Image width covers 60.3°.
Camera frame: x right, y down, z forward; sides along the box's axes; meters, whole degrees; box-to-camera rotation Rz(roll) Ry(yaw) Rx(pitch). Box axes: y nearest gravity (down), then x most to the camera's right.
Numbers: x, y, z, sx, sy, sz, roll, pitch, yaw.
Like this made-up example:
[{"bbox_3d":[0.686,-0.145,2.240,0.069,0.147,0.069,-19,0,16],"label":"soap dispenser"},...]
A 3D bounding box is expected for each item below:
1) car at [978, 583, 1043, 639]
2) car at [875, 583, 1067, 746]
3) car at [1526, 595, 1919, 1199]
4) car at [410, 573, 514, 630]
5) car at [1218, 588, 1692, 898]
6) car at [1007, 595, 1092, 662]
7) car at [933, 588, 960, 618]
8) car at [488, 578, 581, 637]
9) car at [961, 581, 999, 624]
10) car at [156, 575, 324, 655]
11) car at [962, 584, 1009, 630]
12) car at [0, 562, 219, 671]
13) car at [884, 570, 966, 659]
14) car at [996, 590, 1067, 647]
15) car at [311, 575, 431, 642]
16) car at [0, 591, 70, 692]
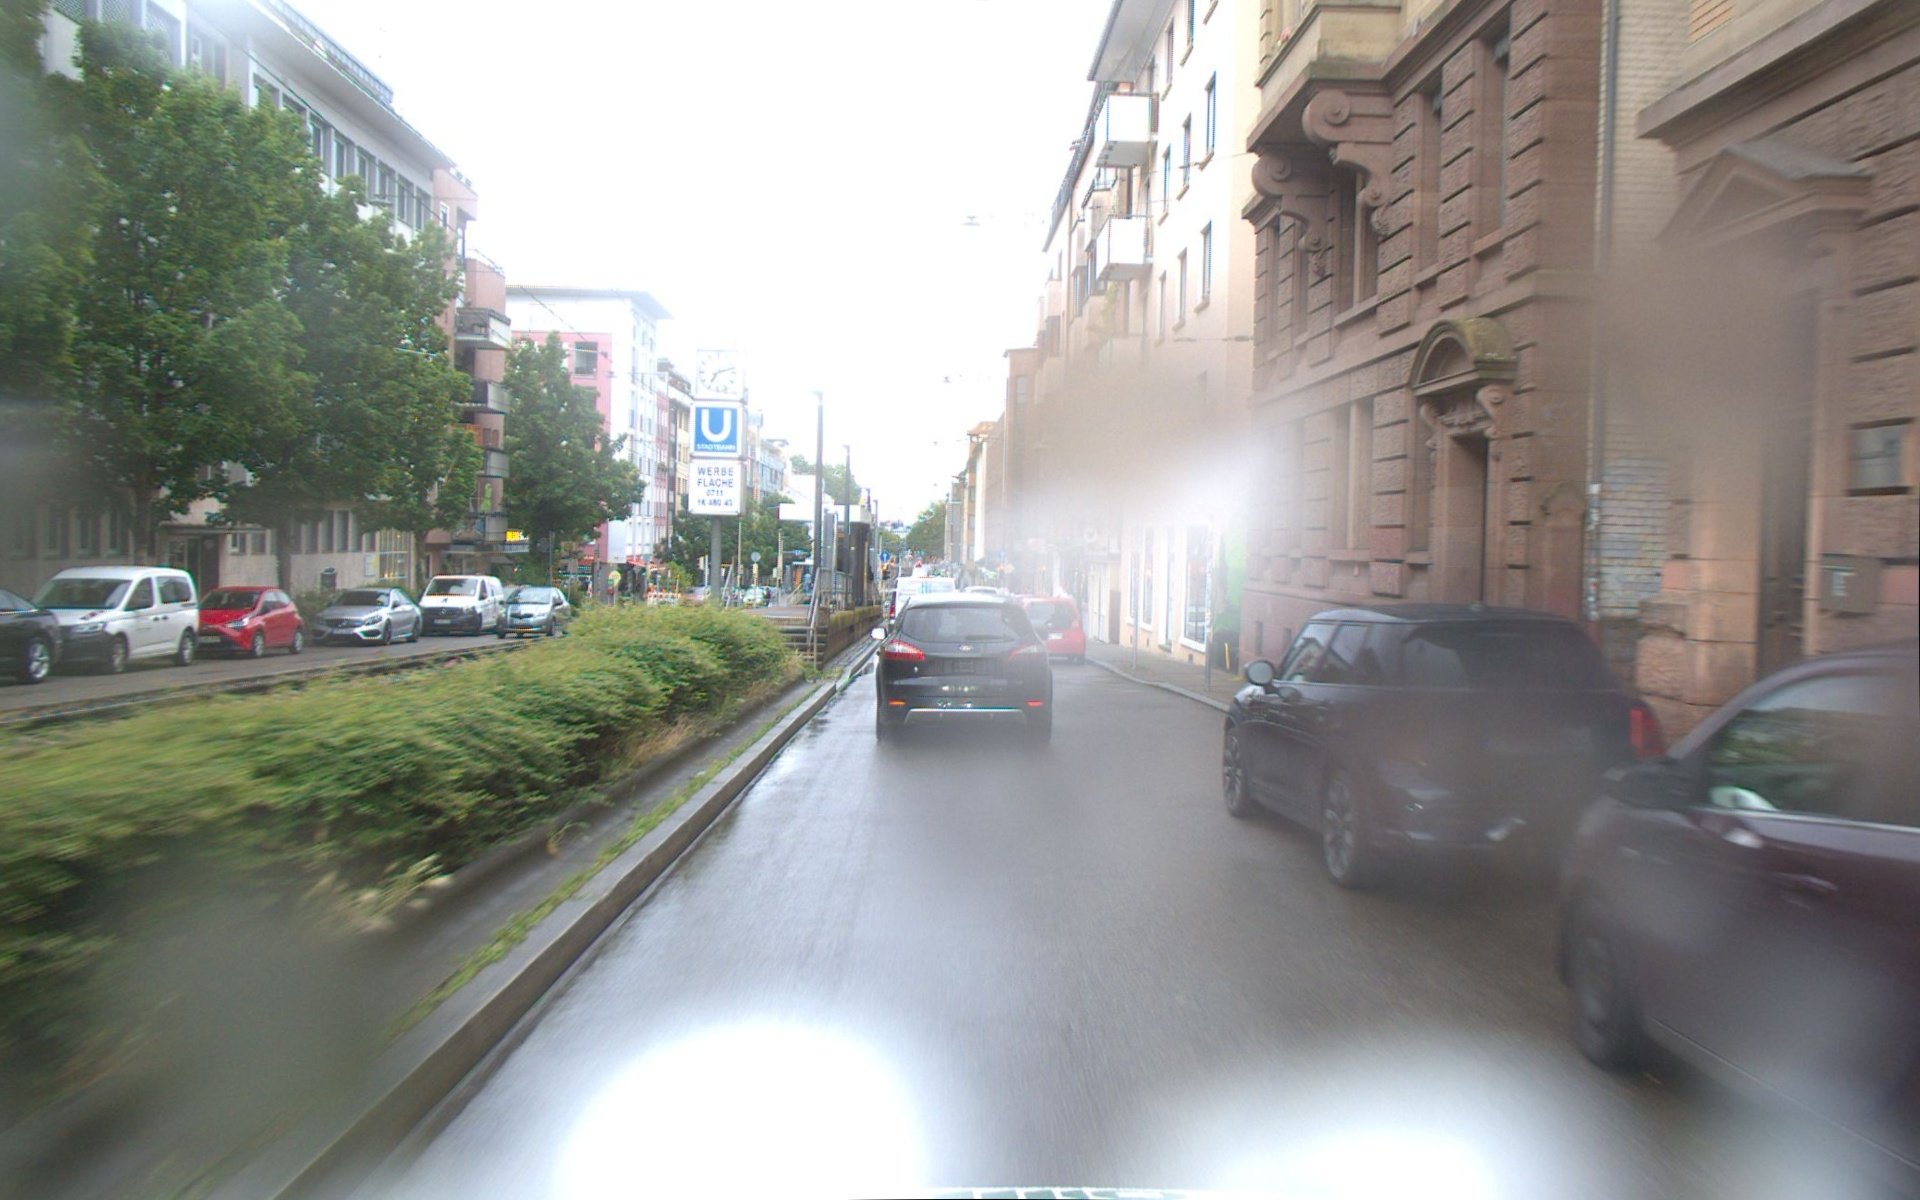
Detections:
[{"bbox_3d":[1.579,0.381,52.548,1.820,1.613,3.778,3,-1,-1],"label":"car"},{"bbox_3d":[0.003,0.612,17.686,1.806,1.533,3.997,0,0,-3],"label":"car"},{"bbox_3d":[2.924,0.735,4.371,1.616,1.485,3.475,0,0,-1],"label":"car"},{"bbox_3d":[-15.540,0.085,51.857,1.818,1.665,4.934,2,-1,-1],"label":"car"},{"bbox_3d":[2.684,0.687,9.867,1.545,1.485,3.819,0,0,-3],"label":"car"},{"bbox_3d":[1.997,0.612,37.614,1.637,1.446,3.475,0,0,-2],"label":"car"},{"bbox_3d":[-1.045,0.256,125.689,1.953,2.049,3.999,3,-1,-1],"label":"car"},{"bbox_3d":[-12.892,0.246,50.344,1.818,1.665,4.045,2,-1,-1],"label":"car"},{"bbox_3d":[0.914,0.152,76.045,1.559,1.812,3.778,3,-1,-1],"label":"car"},{"bbox_3d":[-15.173,0.337,35.090,1.818,1.553,4.045,2,-1,-1],"label":"car"},{"bbox_3d":[1.042,0.317,70.246,1.802,1.812,3.778,3,-1,-1],"label":"car"},{"bbox_3d":[-14.914,0.303,29.031,1.818,1.731,4.430,2,-1,-1],"label":"car"},{"bbox_3d":[-0.892,0.317,42.016,1.948,2.096,4.644,1,1,-1],"label":"car"},{"bbox_3d":[1.867,0.466,44.152,1.637,1.446,3.475,0,0,-2],"label":"car"},{"bbox_3d":[-15.024,0.247,42.411,1.634,1.585,4.045,2,-1,-1],"label":"car"},{"bbox_3d":[-14.499,0.600,23.071,1.818,1.443,4.430,-1,-1,-1],"label":"car"}]
